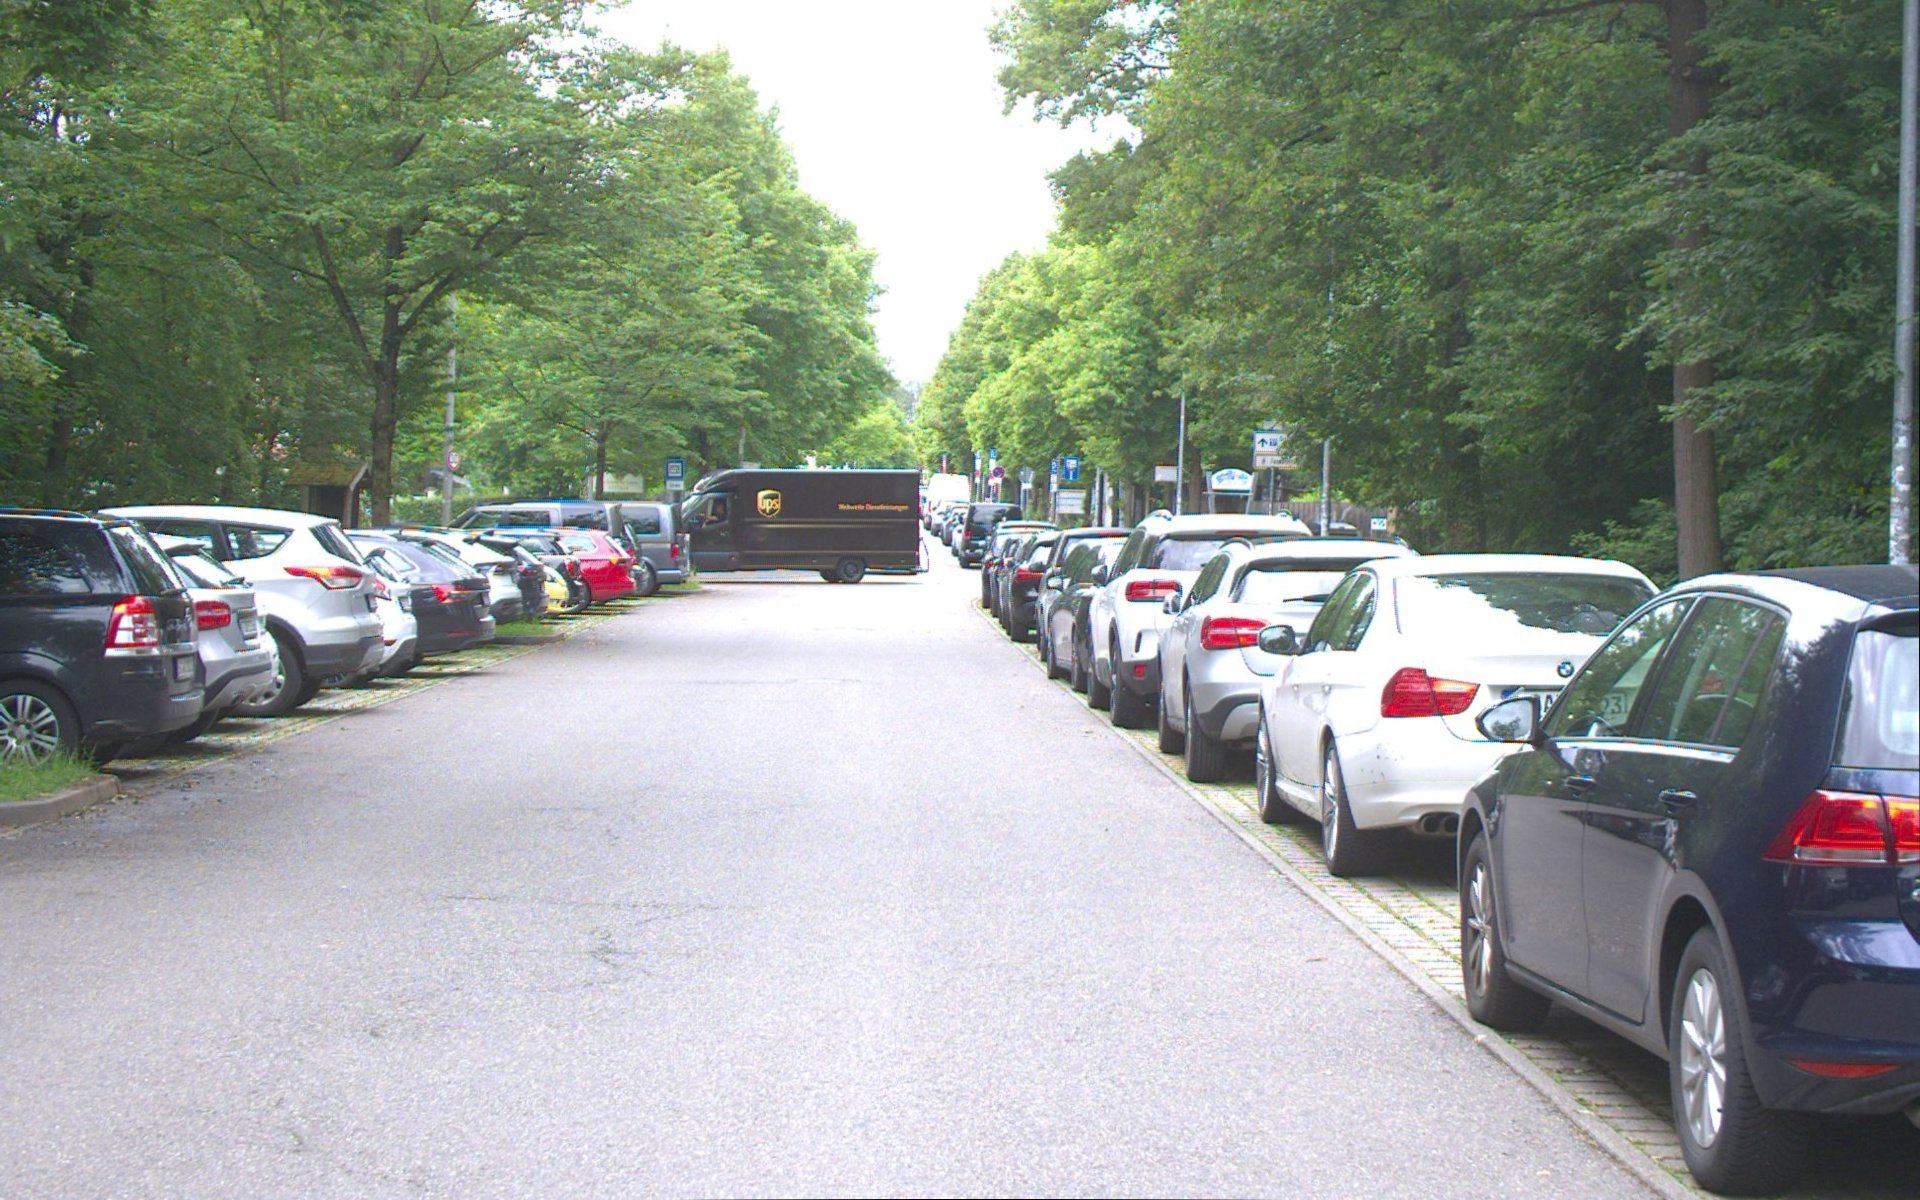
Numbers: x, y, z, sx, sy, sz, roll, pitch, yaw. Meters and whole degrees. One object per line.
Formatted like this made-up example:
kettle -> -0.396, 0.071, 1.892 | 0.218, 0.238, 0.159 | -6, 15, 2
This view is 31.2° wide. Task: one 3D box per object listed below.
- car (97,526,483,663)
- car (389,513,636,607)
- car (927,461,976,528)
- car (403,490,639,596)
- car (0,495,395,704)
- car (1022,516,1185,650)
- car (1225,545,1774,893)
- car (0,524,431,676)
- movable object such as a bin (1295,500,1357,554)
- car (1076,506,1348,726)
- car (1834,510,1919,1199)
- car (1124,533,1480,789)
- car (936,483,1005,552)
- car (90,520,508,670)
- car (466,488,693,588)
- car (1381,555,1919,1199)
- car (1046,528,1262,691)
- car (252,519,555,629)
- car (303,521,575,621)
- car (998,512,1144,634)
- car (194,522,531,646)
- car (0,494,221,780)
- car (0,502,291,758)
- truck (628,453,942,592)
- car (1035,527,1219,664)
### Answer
car -> -7.498, -0.079, 38.712 | 3.987, 1.430, 1.677 | 1, 1, 1
car -> -7.541, -0.688, 58.233 | 3.986, 1.471, 1.780 | 1, 1, -3
car -> -0.398, -4.905, 160.184 | 2.184, 3.005, 4.897 | 1, 2, 0
car -> -7.770, -1.017, 61.055 | 3.987, 1.856, 1.813 | 0, 1, -1
car -> -6.742, -0.024, 28.129 | 3.986, 1.656, 1.815 | 0, 1, -2
car -> 1.747, -0.246, 43.038 | 1.736, 1.562, 4.009 | 1, 1, -2
car -> 2.418, 0.461, 16.524 | 1.736, 1.402, 4.428 | 1, 1, -3
car -> -7.245, -0.014, 33.272 | 3.987, 1.430, 1.648 | 0, 1, 1
movable object such as a bin -> 9.908, -1.972, 93.039 | 1.282, 1.437, 1.078 | 0, 1, -45
car -> 1.987, 0.067, 28.462 | 1.736, 1.638, 5.073 | 1, 1, -1
car -> 2.683, 0.676, 4.219 | 1.838, 1.554, 4.425 | 1, 1, -4
car -> 2.136, 0.313, 22.683 | 1.736, 1.474, 4.770 | 1, 1, -1
car -> 0.312, -2.468, 102.437 | 1.988, 2.006, 4.108 | 1, 2, 0
car -> -6.805, -0.068, 35.645 | 3.987, 1.430, 1.677 | 1, 1, 1
car -> -7.808, -1.272, 70.839 | 4.502, 1.971, 1.891 | 1, 0, -2
car -> 2.440, 0.625, 9.536 | 1.736, 1.430, 4.746 | 1, 1, -3
car -> 1.837, 0.042, 33.873 | 1.736, 1.469, 4.606 | 1, 1, -1
car -> -7.824, -0.381, 48.586 | 3.987, 1.433, 1.715 | 1, 1, -1
car -> -8.089, -0.464, 53.633 | 3.987, 1.433, 1.618 | 1, 1, -1
car -> 1.496, -0.408, 47.758 | 1.736, 1.583, 4.383 | 1, 1, -2
car -> -7.543, -0.223, 43.659 | 3.986, 1.462, 1.715 | 1, 1, -1
car -> -6.639, 0.208, 20.822 | 3.986, 1.656, 1.696 | 0, 1, -2
car -> -6.703, 0.184, 23.290 | 3.987, 1.656, 1.814 | 0, 1, 0
truck -> -4.351, -1.887, 84.641 | 7.245, 3.225, 3.442 | 1, 0, -11
car -> 1.807, -0.091, 38.336 | 1.736, 1.420, 4.155 | 1, 1, -1
